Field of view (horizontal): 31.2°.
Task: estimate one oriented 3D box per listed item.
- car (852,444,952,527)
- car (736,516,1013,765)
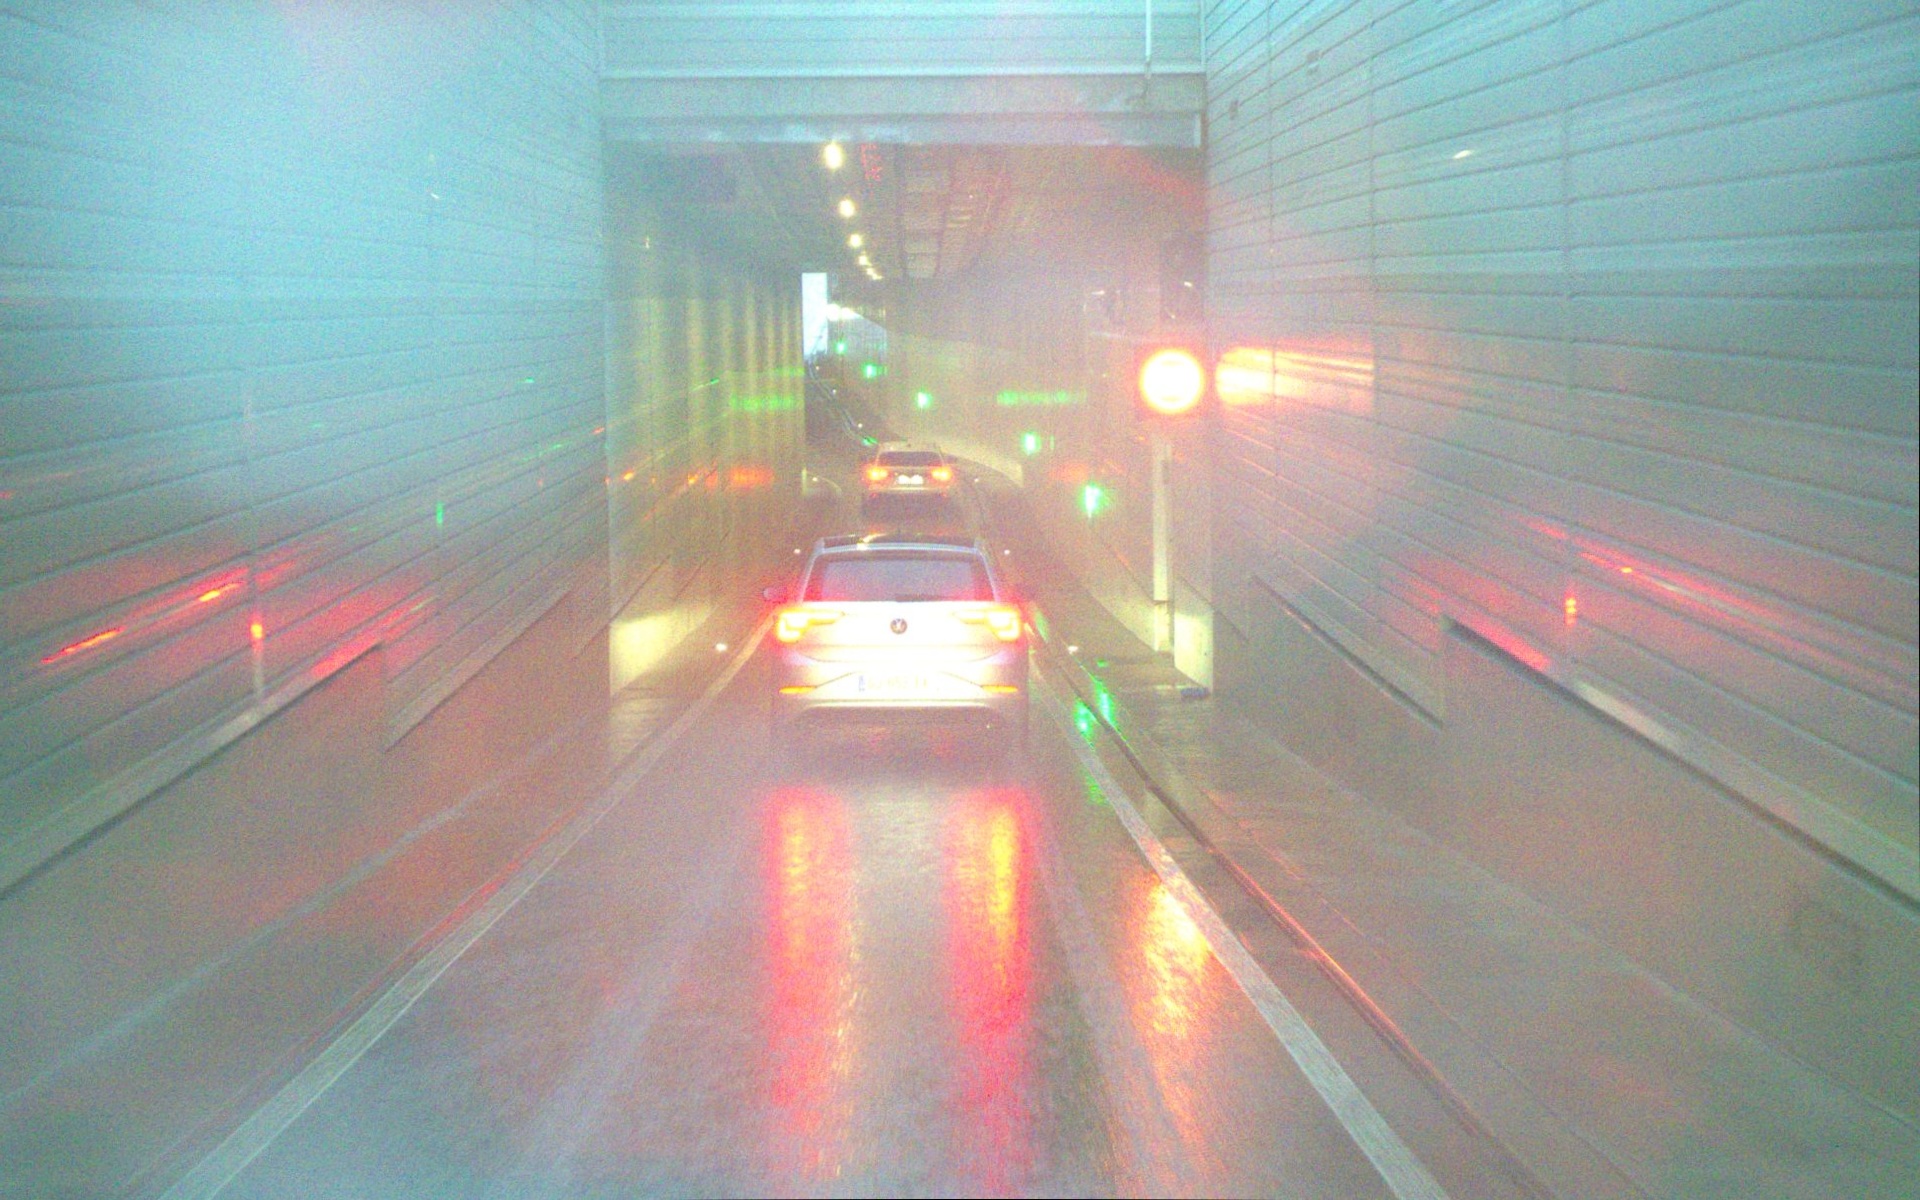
[{"bbox_3d":[-1.210,-2.366,70.273,1.919,1.480,4.001,1,4,-2],"label":"car"},{"bbox_3d":[-0.521,0.205,23.743,1.722,1.474,4.000,1,2,1],"label":"car"}]
